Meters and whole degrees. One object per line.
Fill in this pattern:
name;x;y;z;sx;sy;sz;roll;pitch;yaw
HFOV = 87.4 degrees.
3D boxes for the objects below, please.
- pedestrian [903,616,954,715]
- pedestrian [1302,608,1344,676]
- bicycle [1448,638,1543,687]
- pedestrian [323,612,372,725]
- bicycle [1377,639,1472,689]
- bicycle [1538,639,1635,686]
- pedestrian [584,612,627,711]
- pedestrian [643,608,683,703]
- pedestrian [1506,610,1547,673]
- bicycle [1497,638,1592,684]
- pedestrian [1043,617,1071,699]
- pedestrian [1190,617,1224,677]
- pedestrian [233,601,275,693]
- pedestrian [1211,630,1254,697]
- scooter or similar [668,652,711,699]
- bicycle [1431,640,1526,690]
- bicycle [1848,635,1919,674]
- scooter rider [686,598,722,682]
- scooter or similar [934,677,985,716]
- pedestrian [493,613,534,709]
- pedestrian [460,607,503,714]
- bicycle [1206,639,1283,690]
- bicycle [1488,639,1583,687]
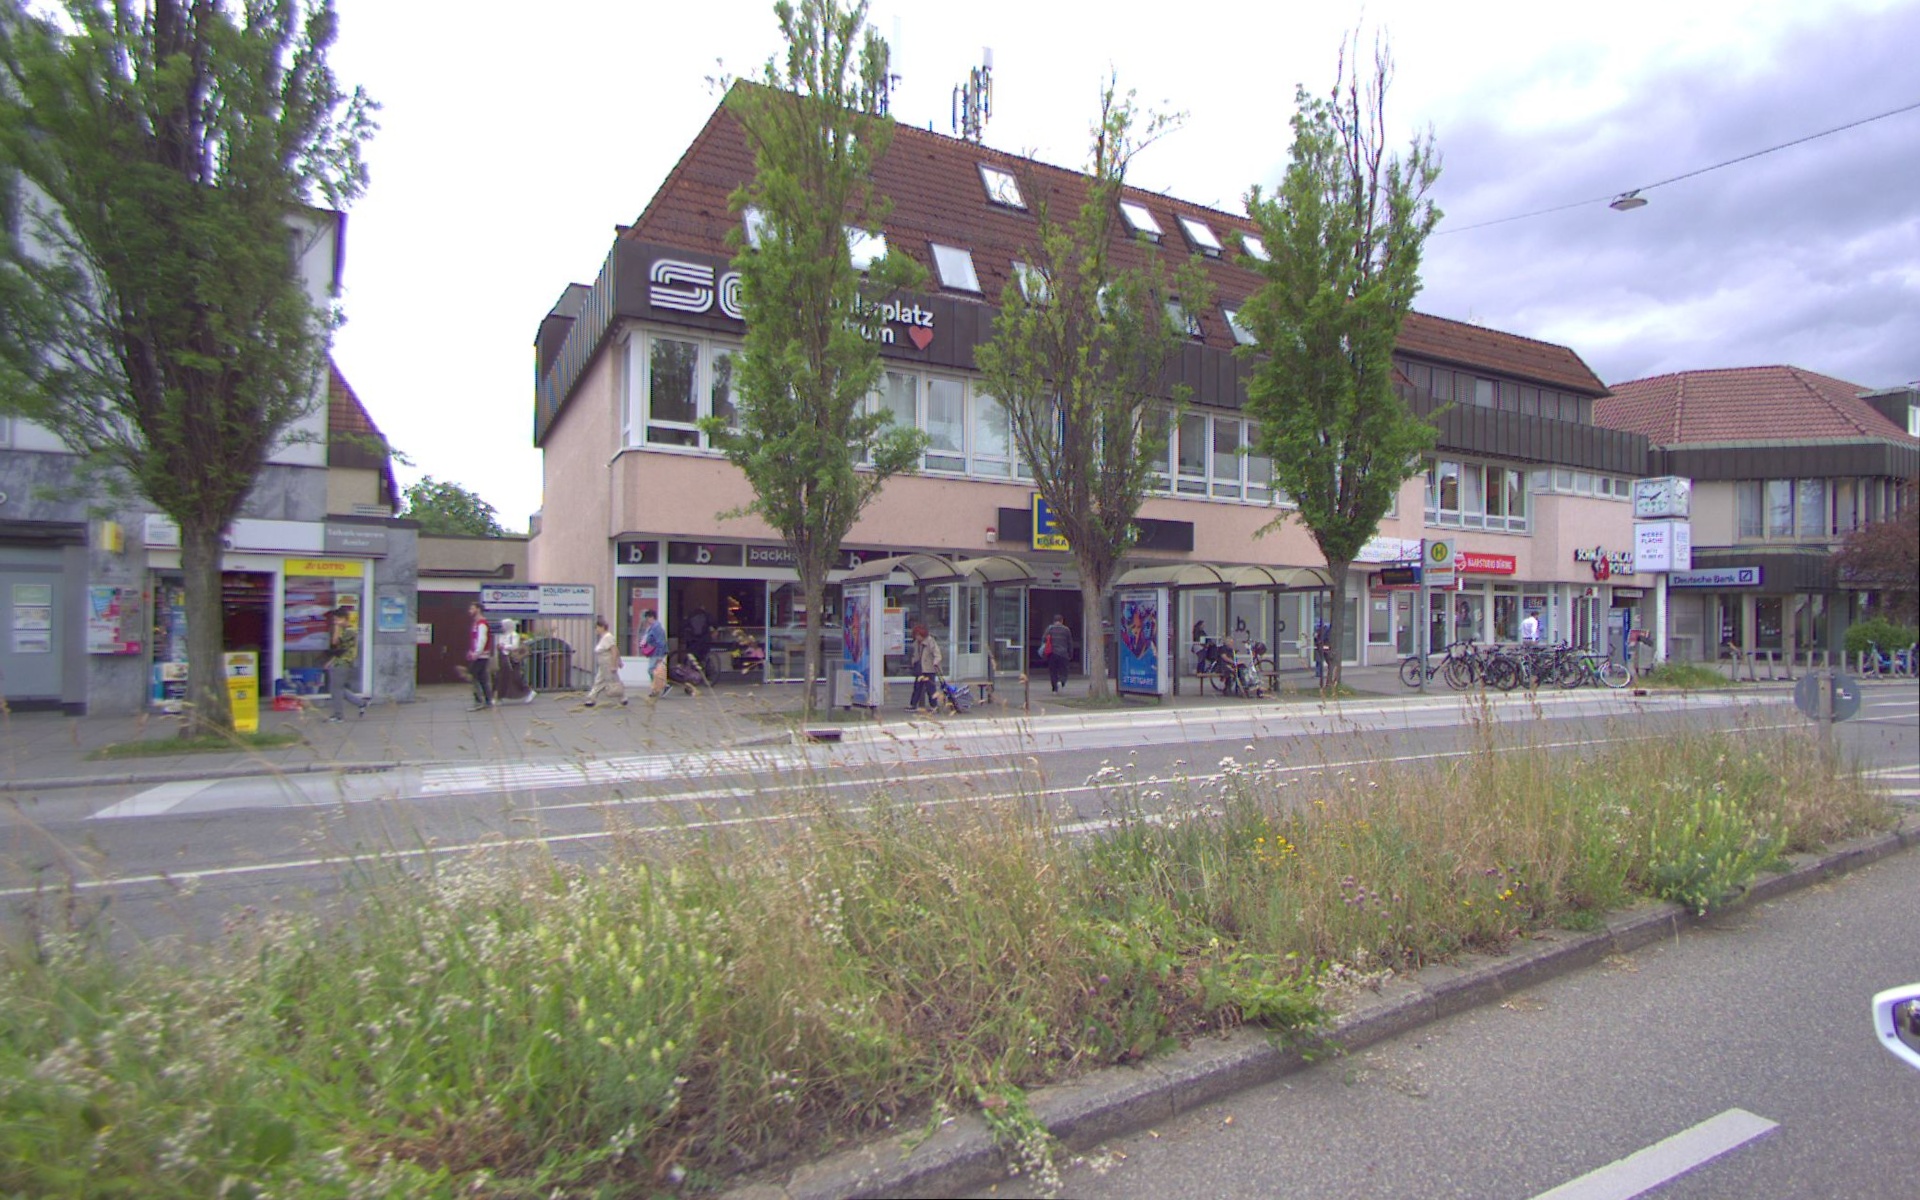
pedestrian;-0.553;1.124;17.644;0.580;1.674;0.709;0;1;44
pedestrian;9.797;1.115;27.135;0.746;1.788;0.722;0;2;-30
bicycle;13.258;1.526;24.905;0.643;1.105;2.003;1;-1;-37
pedestrian;-9.305;1.018;15.283;0.608;1.656;0.583;0;2;-30
bicycle;11.288;1.537;24.455;0.644;1.105;2.000;1;0;-41
bicycle;15.973;1.565;25.656;0.643;1.105;2.003;1;-1;-37
pedestrian;-6.192;1.058;17.547;0.608;1.656;0.583;0;2;-30
pedestrian;-5.632;1.036;19.024;0.608;1.735;0.583;0;2;-30
pedestrian;16.434;1.188;29.137;0.746;1.788;0.722;0;2;-30
bicycle;14.946;1.543;25.729;0.643;1.105;2.003;1;-1;-37
pedestrian;2.044;1.196;21.083;0.576;1.674;0.714;0;0;6
pedestrian;6.689;1.265;27.191;0.581;1.568;0.708;0;0;-29
pedestrian;-13.224;0.858;18.816;0.583;1.656;0.607;-1;3;-41
pedestrian;5.857;1.357;21.609;0.580;1.382;0.709;0;0;-26
scooter or similar;-5.264;1.458;19.527;0.694;0.860;0.589;1;-1;-29
bicycle;12.455;1.544;24.190;0.642;1.105;2.007;1;-1;-32
bicycle;28.402;1.650;30.556;0.643;1.105;2.003;1;-1;-37
scooter rider;-5.486;0.845;21.523;0.581;1.735;0.610;0;2;-31
scooter or similar;-0.012;1.670;17.399;0.694;0.609;0.589;1;-1;-29
pedestrian;-7.977;1.074;17.946;0.608;1.656;0.583;0;2;-30
pedestrian;-8.045;0.993;16.884;0.608;1.735;0.583;0;2;-30
bicycle;6.493;1.458;22.893;1.908;1.105;0.531;1;0;-31
bicycle;14.427;1.564;25.239;0.643;1.105;2.003;1;-1;-37
